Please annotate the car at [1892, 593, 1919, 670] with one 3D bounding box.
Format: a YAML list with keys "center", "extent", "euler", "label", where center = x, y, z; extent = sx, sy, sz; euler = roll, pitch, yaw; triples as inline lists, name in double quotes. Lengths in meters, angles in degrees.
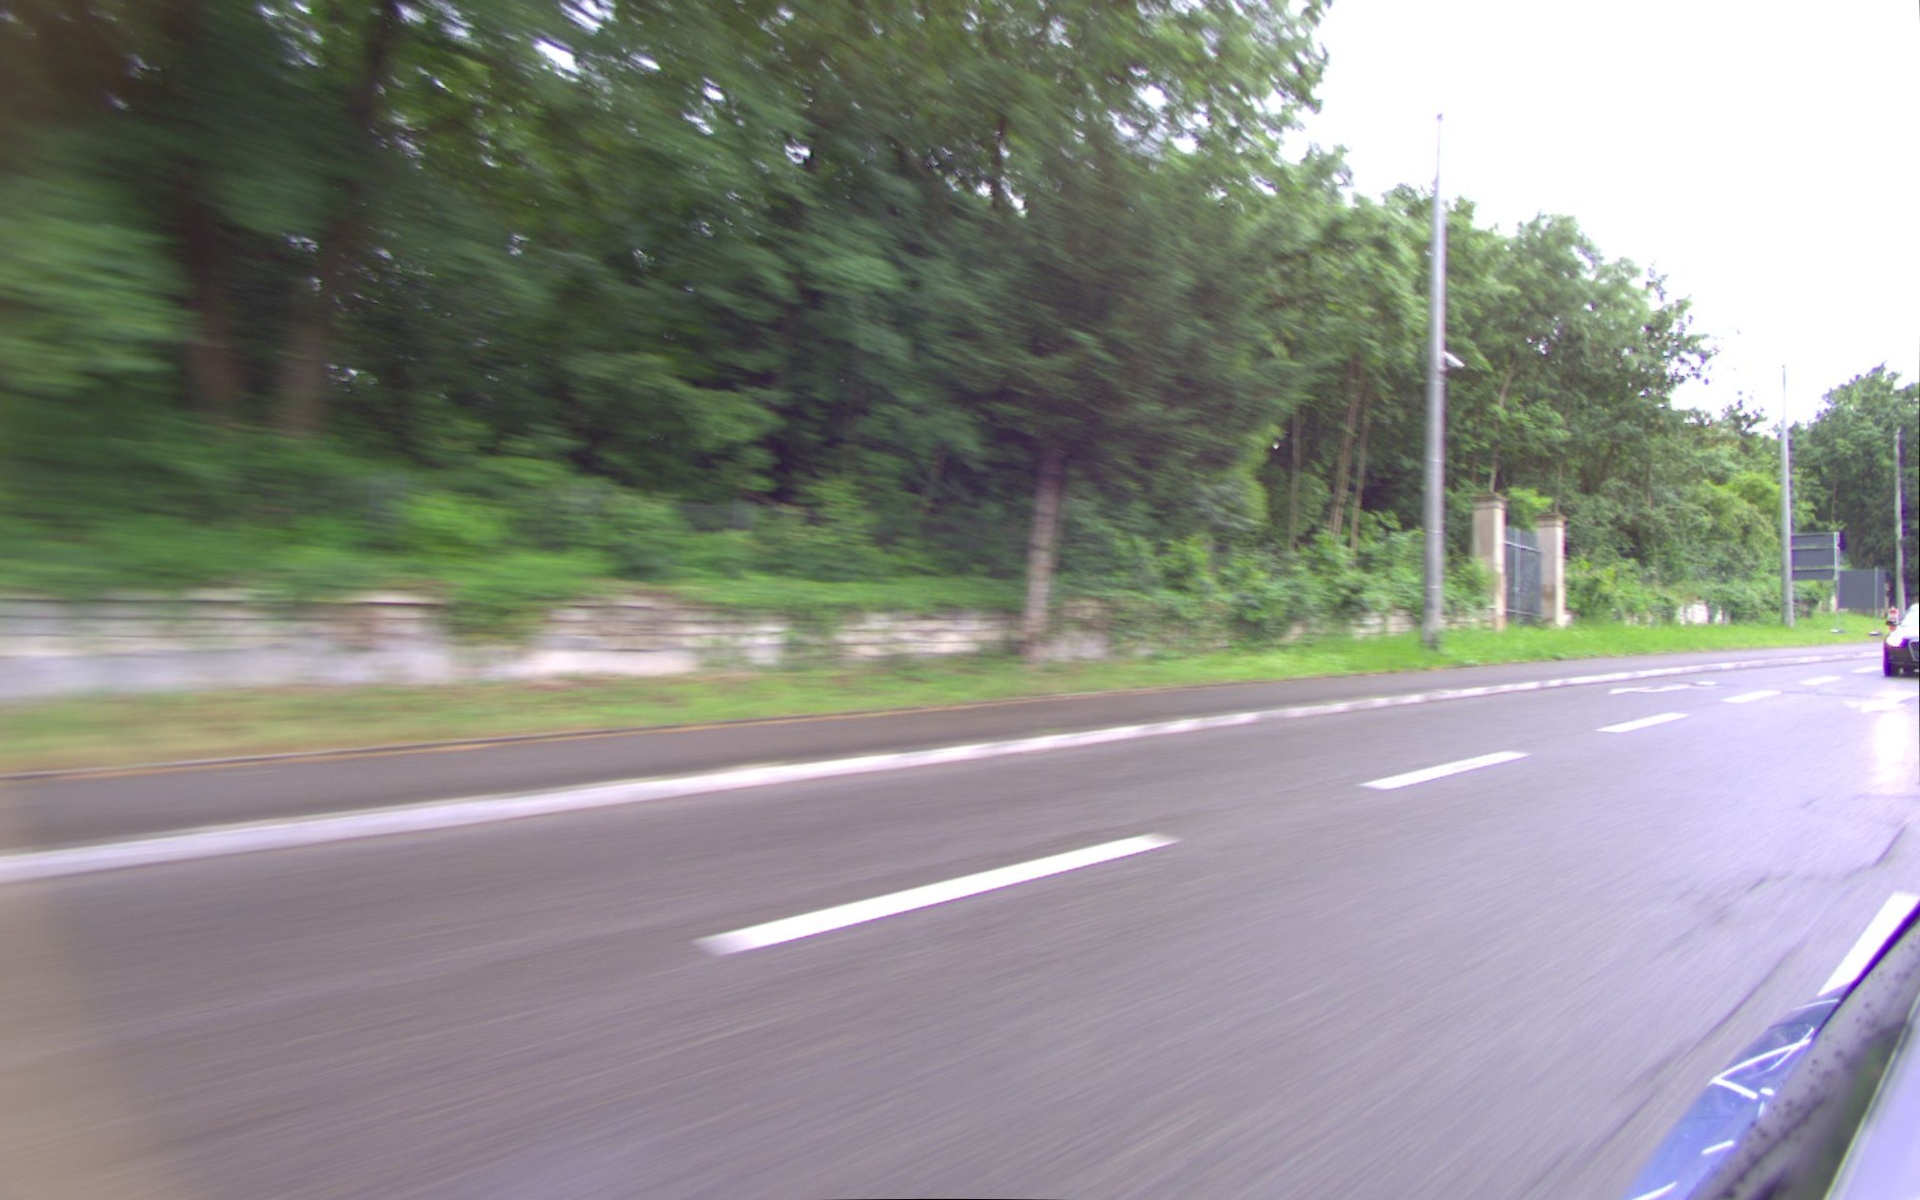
- center: [21.963, 0.658, 22.102]
  extent: [3.928, 1.608, 1.855]
  euler: [0, 0, -40]
  label: "car"
